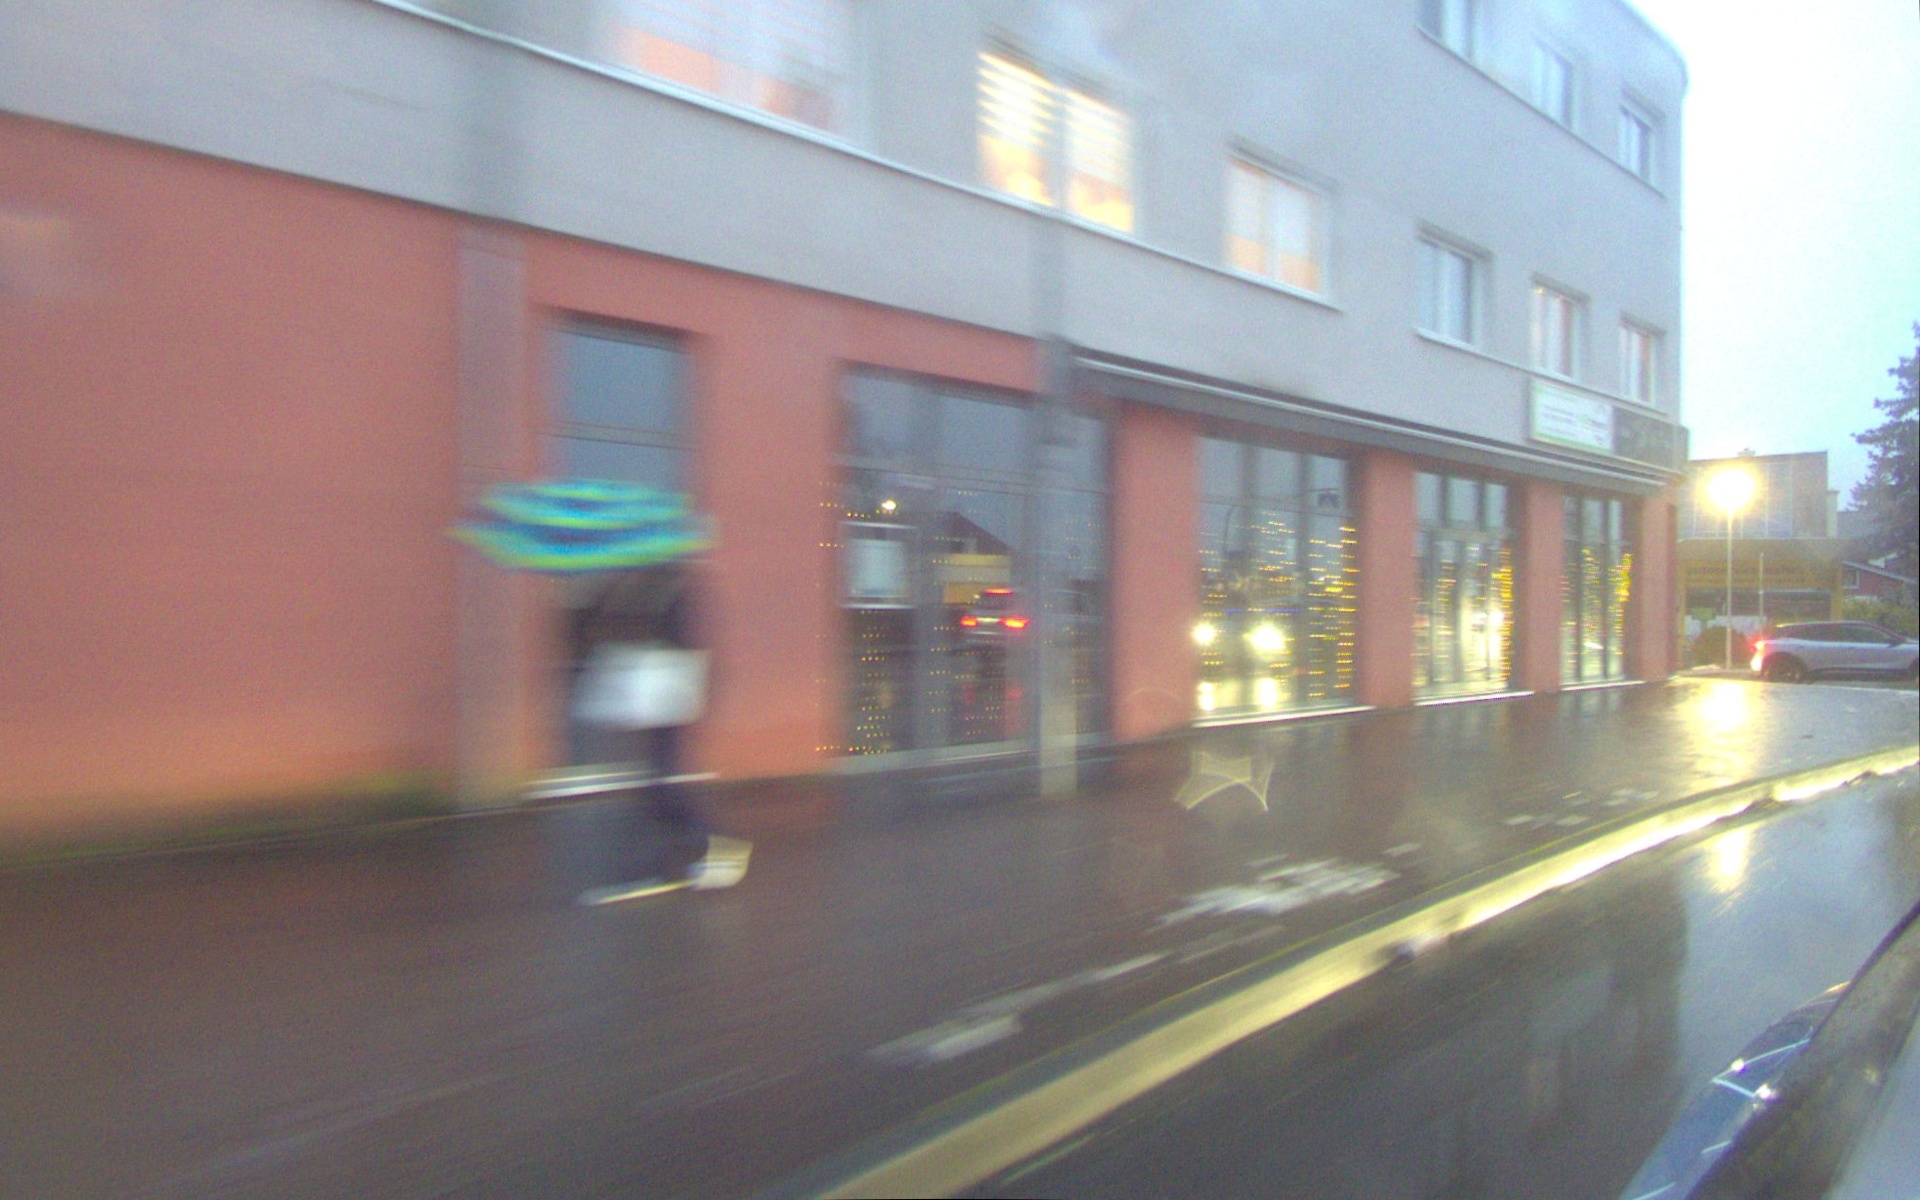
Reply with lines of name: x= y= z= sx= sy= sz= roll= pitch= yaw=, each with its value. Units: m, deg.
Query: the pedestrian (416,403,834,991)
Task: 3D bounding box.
pedestrian: x=-1.398 y=0.293 z=4.129 sx=1.278 sy=1.889 sz=1.259 roll=1 pitch=2 yaw=-36

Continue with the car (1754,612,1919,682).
car: x=20.148 y=1.029 z=22.029 sx=1.765 sy=1.460 sz=4.178 roll=2 pitch=-4 yaw=-39
